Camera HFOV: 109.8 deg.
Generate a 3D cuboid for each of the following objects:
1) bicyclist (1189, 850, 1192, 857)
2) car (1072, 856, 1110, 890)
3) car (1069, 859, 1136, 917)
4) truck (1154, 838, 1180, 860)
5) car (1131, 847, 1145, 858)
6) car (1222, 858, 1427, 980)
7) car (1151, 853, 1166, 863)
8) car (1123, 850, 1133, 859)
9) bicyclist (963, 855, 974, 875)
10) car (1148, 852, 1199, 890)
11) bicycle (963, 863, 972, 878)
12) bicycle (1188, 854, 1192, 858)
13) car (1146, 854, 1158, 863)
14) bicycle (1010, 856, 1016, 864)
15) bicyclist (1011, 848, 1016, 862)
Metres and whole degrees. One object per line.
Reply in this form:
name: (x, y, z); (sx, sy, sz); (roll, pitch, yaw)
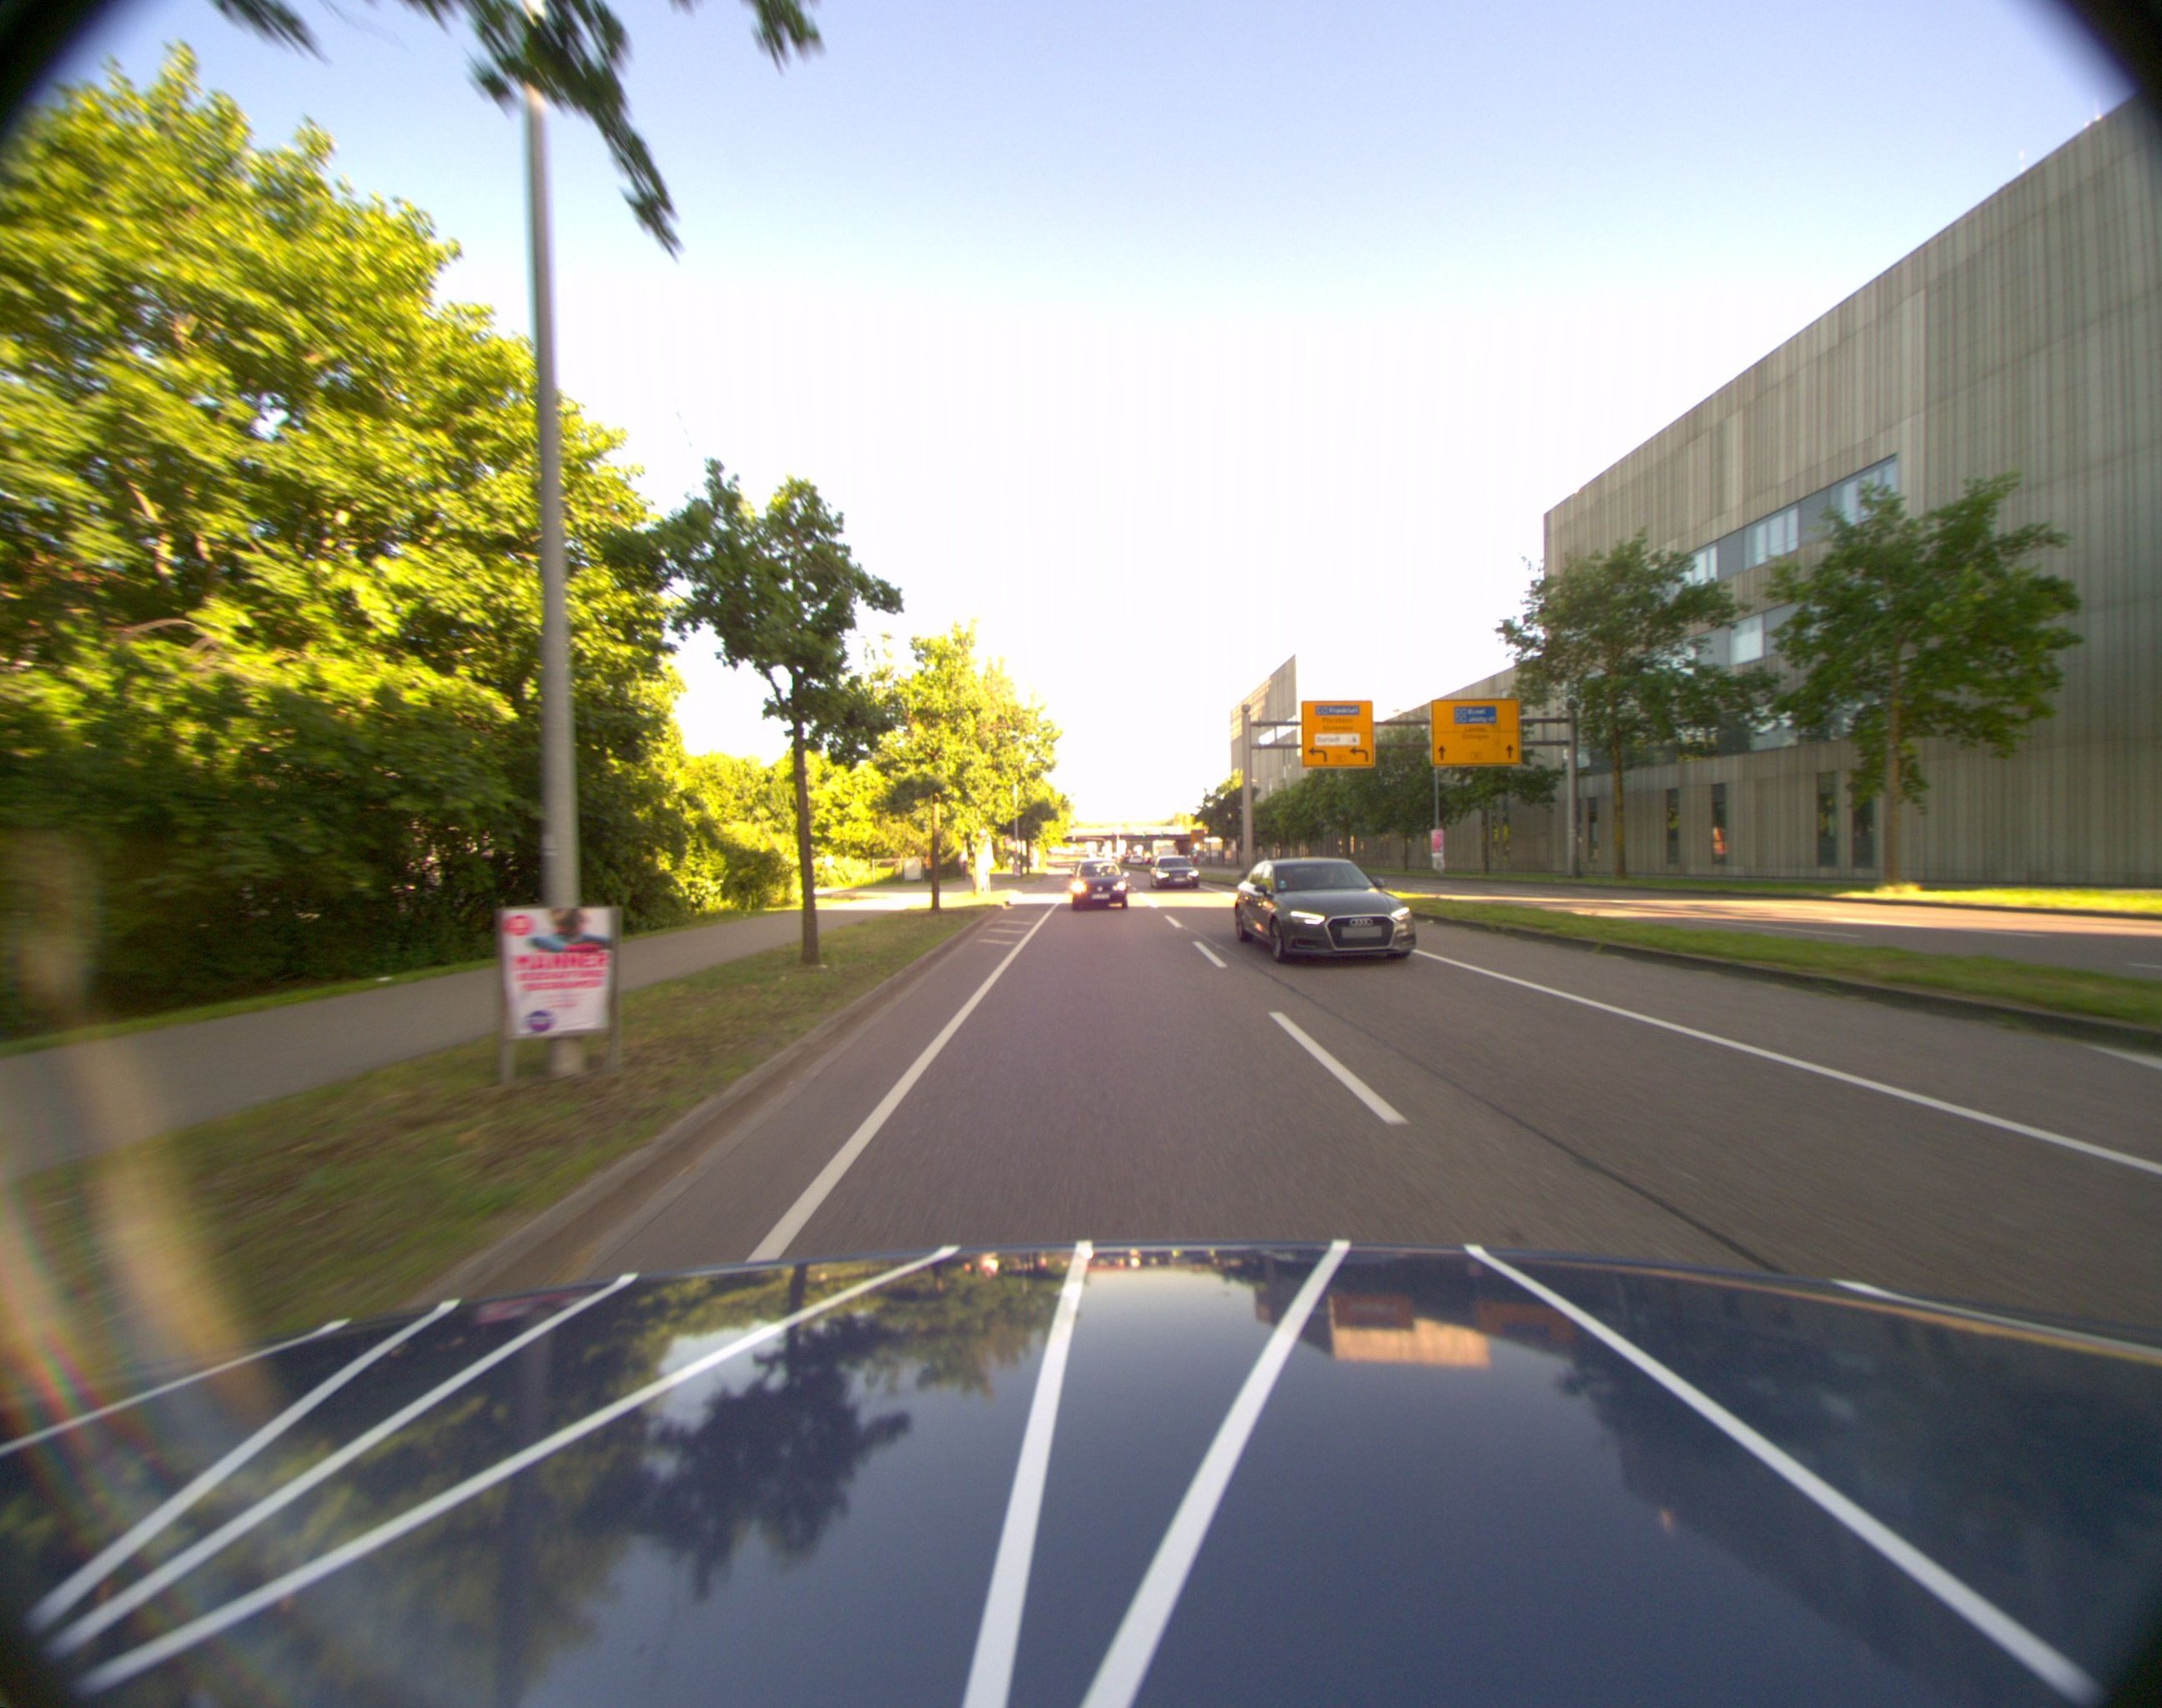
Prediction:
bicyclist: (24.120, -0.083, 167.785); (0.509, 1.434, 0.753); (-1, 1, -2)
car: (0.438, 0.893, 36.973); (1.702, 1.478, 3.946); (-1, 0, -1)
car: (0.528, 0.906, 22.079); (1.702, 1.474, 4.052); (-2, 0, -1)
truck: (11.950, -0.683, 106.151); (2.693, 2.943, 7.113); (1, 0, 0)
car: (8.870, -0.189, 118.800); (1.829, 1.672, 4.658); (1, 0, -1)
car: (3.424, 0.822, 11.599); (1.702, 1.396, 4.364); (-2, 0, 0)
car: (11.854, 0.585, 116.632); (1.840, 1.415, 4.000); (0, 0, -1)
car: (8.238, 0.028, 134.089); (1.606, 1.571, 3.212); (0, 1, 0)
bicyclist: (-8.529, 0.839, 57.564); (0.687, 1.513, 1.035); (-1, 1, -4)
car: (4.082, 0.704, 34.148); (1.702, 1.528, 3.946); (-3, 1, -1)
bicycle: (-8.574, 1.219, 57.575); (0.517, 1.066, 1.935); (-1, 1, -4)
bicycle: (24.130, 0.347, 167.822); (0.513, 0.885, 1.754); (-1, 0, -2)
car: (11.622, 0.738, 124.569); (1.624, 1.461, 3.639); (0, 0, 0)
bicycle: (-8.164, 0.713, 91.613); (0.573, 0.986, 2.046); (-1, 0, -1)
bicyclist: (-8.141, 0.112, 91.448); (0.566, 1.600, 0.865); (-1, 1, -1)
